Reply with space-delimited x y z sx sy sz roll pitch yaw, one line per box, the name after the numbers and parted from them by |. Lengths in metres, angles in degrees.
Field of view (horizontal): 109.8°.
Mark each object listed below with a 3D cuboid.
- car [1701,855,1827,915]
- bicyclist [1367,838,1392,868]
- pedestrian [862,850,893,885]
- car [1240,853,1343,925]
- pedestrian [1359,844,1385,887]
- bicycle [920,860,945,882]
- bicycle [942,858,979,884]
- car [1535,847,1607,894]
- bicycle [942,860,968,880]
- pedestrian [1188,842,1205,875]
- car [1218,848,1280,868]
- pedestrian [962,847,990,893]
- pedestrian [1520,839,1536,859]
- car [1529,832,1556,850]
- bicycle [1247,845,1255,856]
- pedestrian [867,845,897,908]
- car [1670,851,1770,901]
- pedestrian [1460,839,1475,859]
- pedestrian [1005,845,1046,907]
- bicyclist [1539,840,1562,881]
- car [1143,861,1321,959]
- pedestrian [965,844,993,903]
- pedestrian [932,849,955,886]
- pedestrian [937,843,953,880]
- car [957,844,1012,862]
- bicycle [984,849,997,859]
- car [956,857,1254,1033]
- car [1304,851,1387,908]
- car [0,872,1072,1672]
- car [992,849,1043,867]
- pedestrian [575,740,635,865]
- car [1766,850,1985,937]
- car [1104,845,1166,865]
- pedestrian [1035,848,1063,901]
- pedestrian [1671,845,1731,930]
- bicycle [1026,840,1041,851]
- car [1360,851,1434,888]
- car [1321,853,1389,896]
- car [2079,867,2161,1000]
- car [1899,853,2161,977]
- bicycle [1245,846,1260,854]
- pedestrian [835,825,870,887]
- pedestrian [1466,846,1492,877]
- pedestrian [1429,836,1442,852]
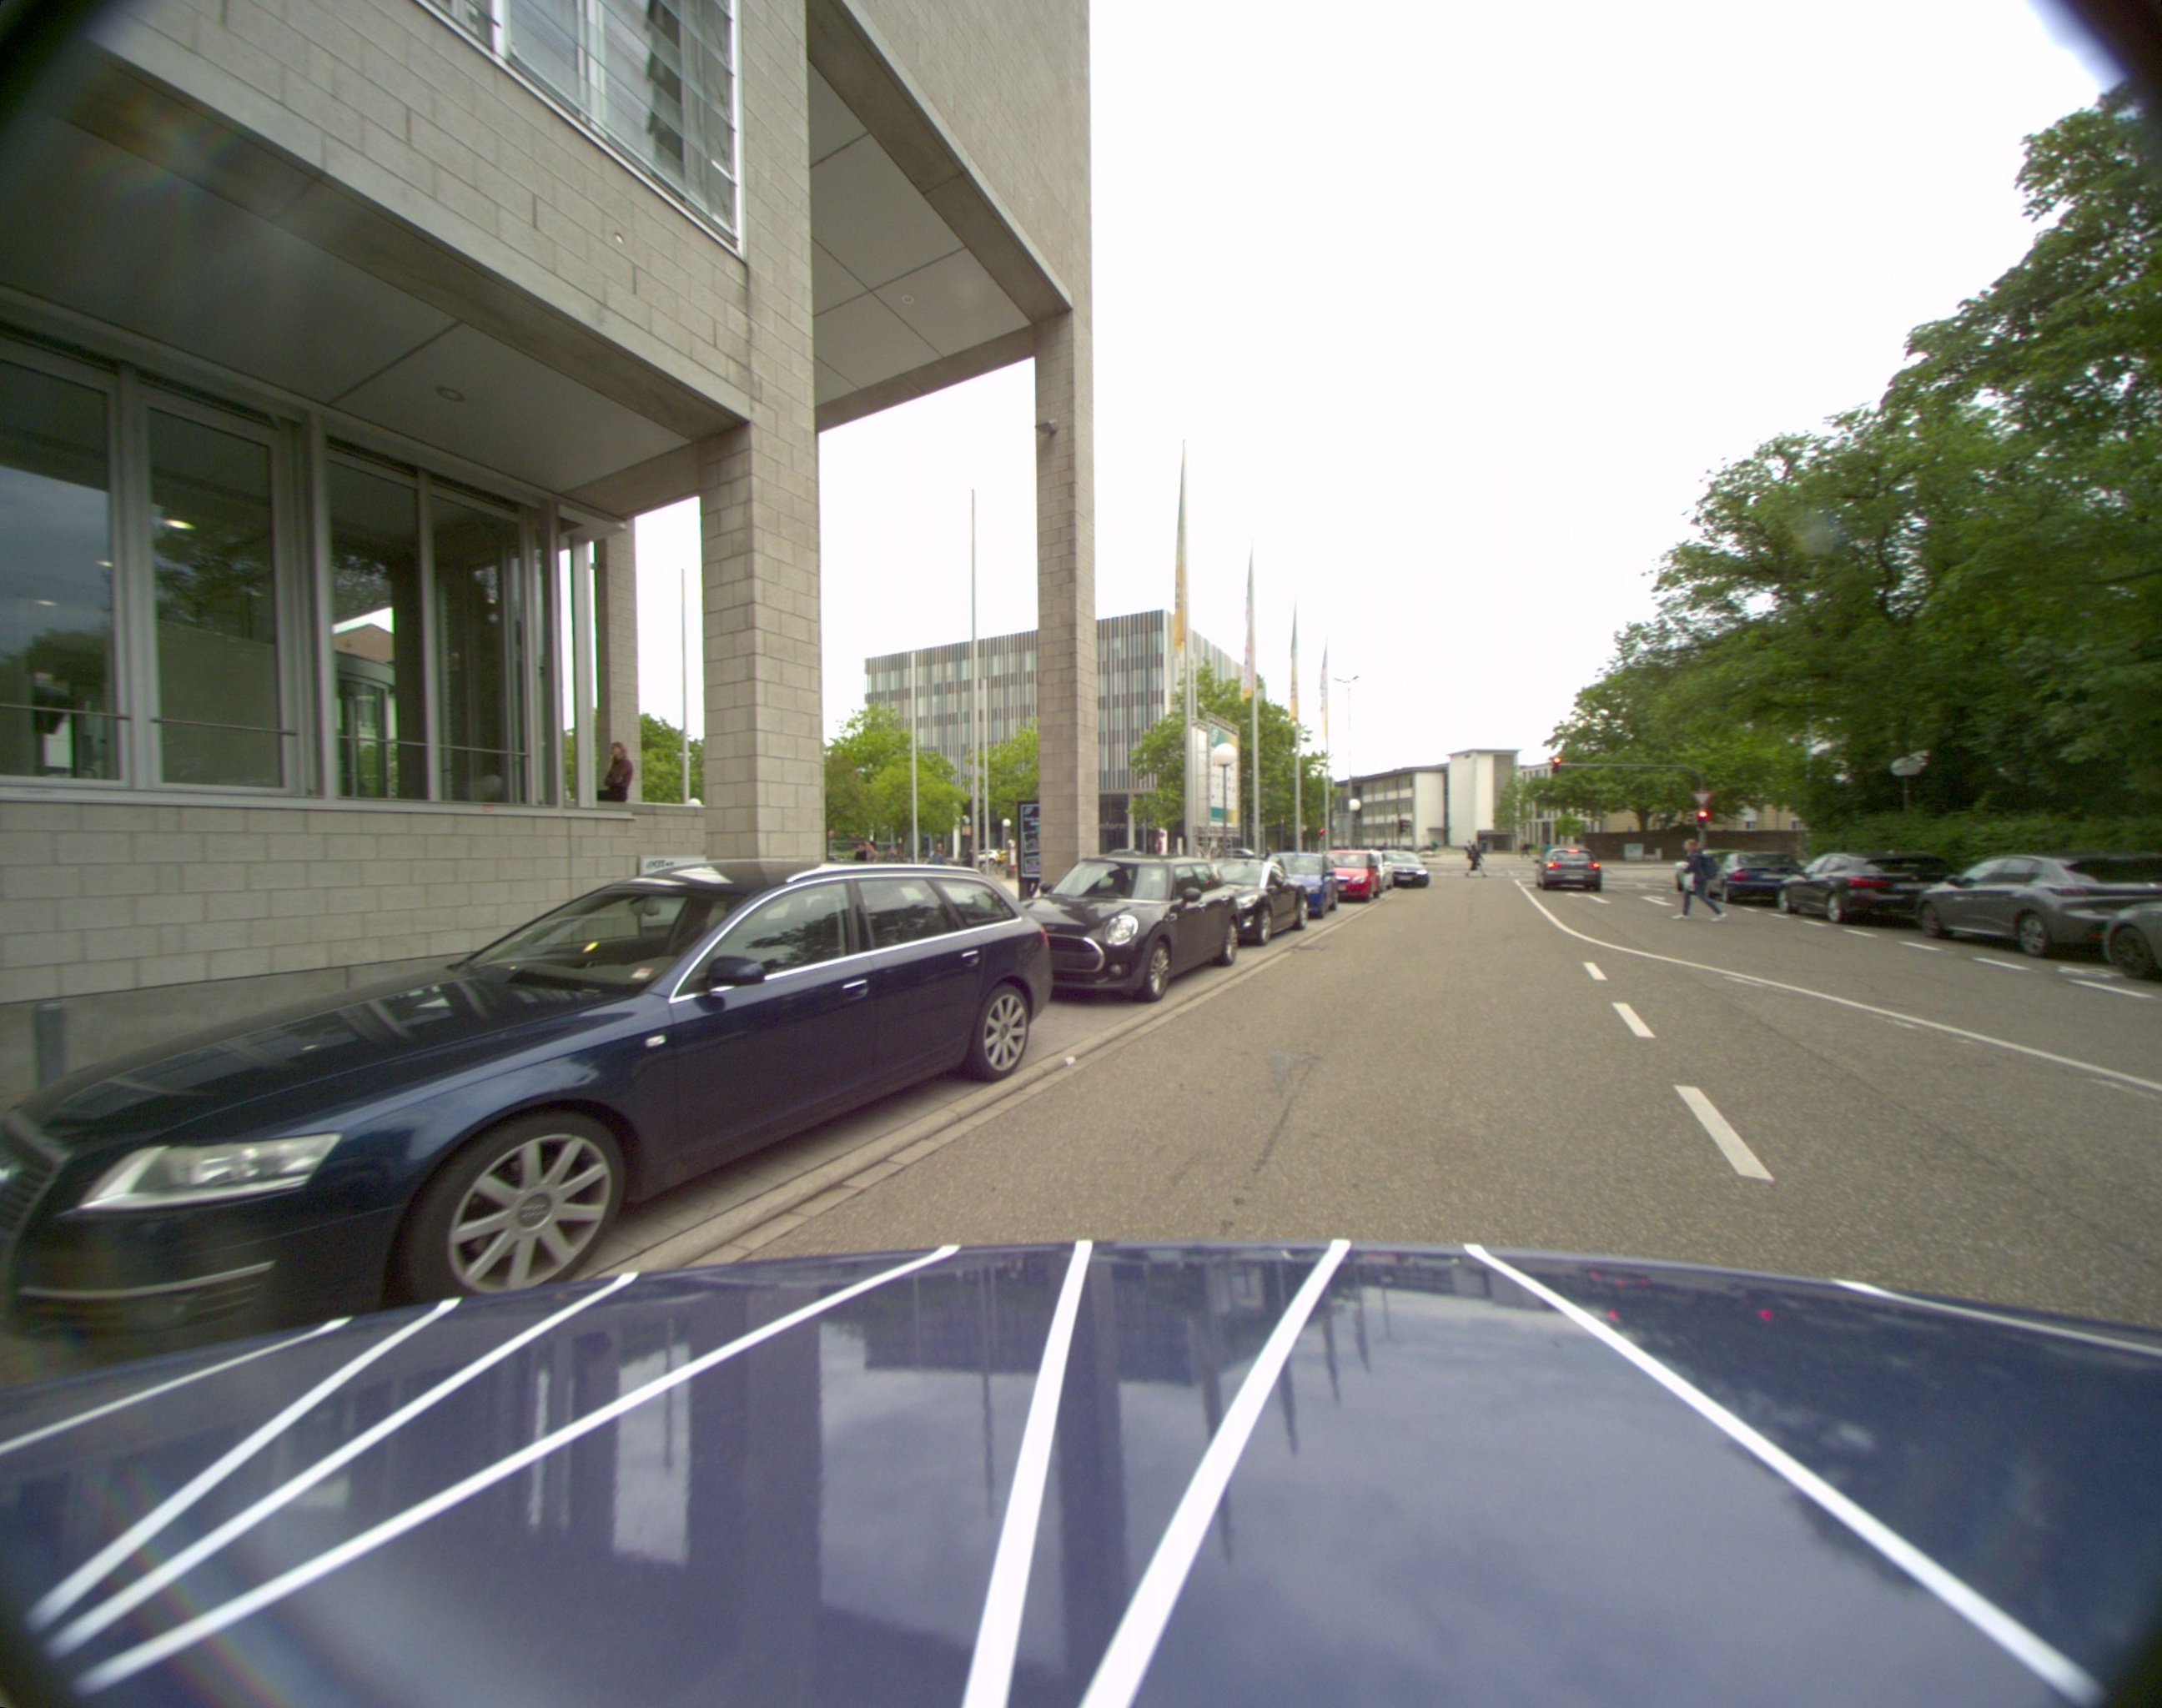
18.612 0.759 20.916 1.798 1.400 4.345 0 1 31 | car
16.034 -0.059 40.857 0.868 1.631 0.875 -1 1 -17 | bicyclist
-8.549 0.560 31.960 0.850 1.412 0.970 0 2 17 | pedestrian
5.148 0.725 18.151 1.696 1.403 4.383 1 2 25 | car
12.423 0.486 32.415 0.791 1.777 0.823 1 2 40 | pedestrian
-7.409 0.854 37.996 0.456 1.043 1.937 1 1 14 | bicycle
-5.582 0.804 35.431 0.456 1.163 2.419 -1 -2 23 | bicycle
17.322 0.518 27.026 1.784 1.489 4.175 0 1 28 | car
-6.812 0.841 41.145 0.456 1.043 1.939 1 1 23 | bicycle
5.948 0.224 39.125 0.672 1.705 0.679 0 1 22 | pedestrian
13.056 0.331 59.124 4.281 1.481 2.003 -1 1 27 | car
-3.870 0.577 28.042 0.755 1.660 0.706 1 2 30 | pedestrian
39.036 -0.436 66.351 0.792 1.654 0.808 0 -2 -25 | pedestrian
58.288 -1.597 95.929 1.996 1.570 4.415 -10 -12 39 | car
17.830 -0.384 79.678 0.483 1.039 1.783 -1 2 -1 | bicycle
-5.609 0.613 21.362 0.648 1.703 0.780 -2 2 -25 | pedestrian
21.274 0.662 25.491 1.798 1.461 4.256 0 1 30 | car
34.869 -0.444 68.491 0.846 1.778 0.893 -1 1 -15 | pedestrian
-1.512 0.600 20.770 0.735 1.631 0.933 -1 -1 26 | pedestrian
20.299 0.274 32.844 0.658 1.769 0.985 0 2 20 | bicyclist
2.858 0.847 13.493 1.849 1.433 4.427 0 -1 29 | car
-3.179 0.596 23.686 0.591 1.830 0.621 1 2 28 | pedestrian
-6.494 0.616 35.894 0.851 1.694 0.969 1 1 7 | pedestrian
-6.631 0.355 37.102 0.674 1.823 0.510 -1 2 -22 | pedestrian
-10.041 -0.038 78.884 5.361 1.687 2.052 -1 -2 24 | car
-11.554 0.023 96.953 0.627 1.251 2.108 0 1 26 | bicycle
0.597 0.818 9.145 1.819 1.435 4.528 2 2 27 | car
8.100 0.684 23.053 1.713 1.465 4.281 2 2 28 | car
-2.105 0.927 3.961 1.995 1.444 4.931 0 1 28 | car
-5.832 0.370 69.401 4.183 1.609 2.003 0 1 24 | car
-6.643 -0.675 10.600 0.632 1.648 0.805 0 -2 -37 | pedestrian
16.362 0.689 15.979 1.799 1.552 4.538 0 1 28 | car
4.577 0.084 64.388 4.827 1.653 2.003 -1 1 27 | car
-1.092 0.699 26.068 0.763 1.775 0.737 0 1 14 | pedestrian
12.540 0.646 15.395 0.739 1.652 0.970 1 1 28 | pedestrian
-5.899 -1.050 94.560 0.627 1.251 2.109 -1 -2 33 | bicycle
13.245 0.599 32.117 1.864 1.394 4.481 0 1 8 | car
10.279 0.708 28.342 1.861 1.445 3.865 0 1 28 | car
12.054 0.864 7.058 1.764 1.403 4.015 0 0 26 | car
14.196 0.758 11.170 1.763 1.463 3.831 0 1 28 | car
19.733 -0.491 87.495 0.484 0.931 2.005 -2 2 -30 | bicycle
-6.519 0.074 21.667 0.695 1.701 0.907 2 -5 -33 | pedestrian
20.757 0.393 39.616 1.042 1.610 0.658 0 2 11 | pedestrian
37.731 -1.058 80.950 0.951 1.705 0.905 -1 2 -7 | pedestrian
